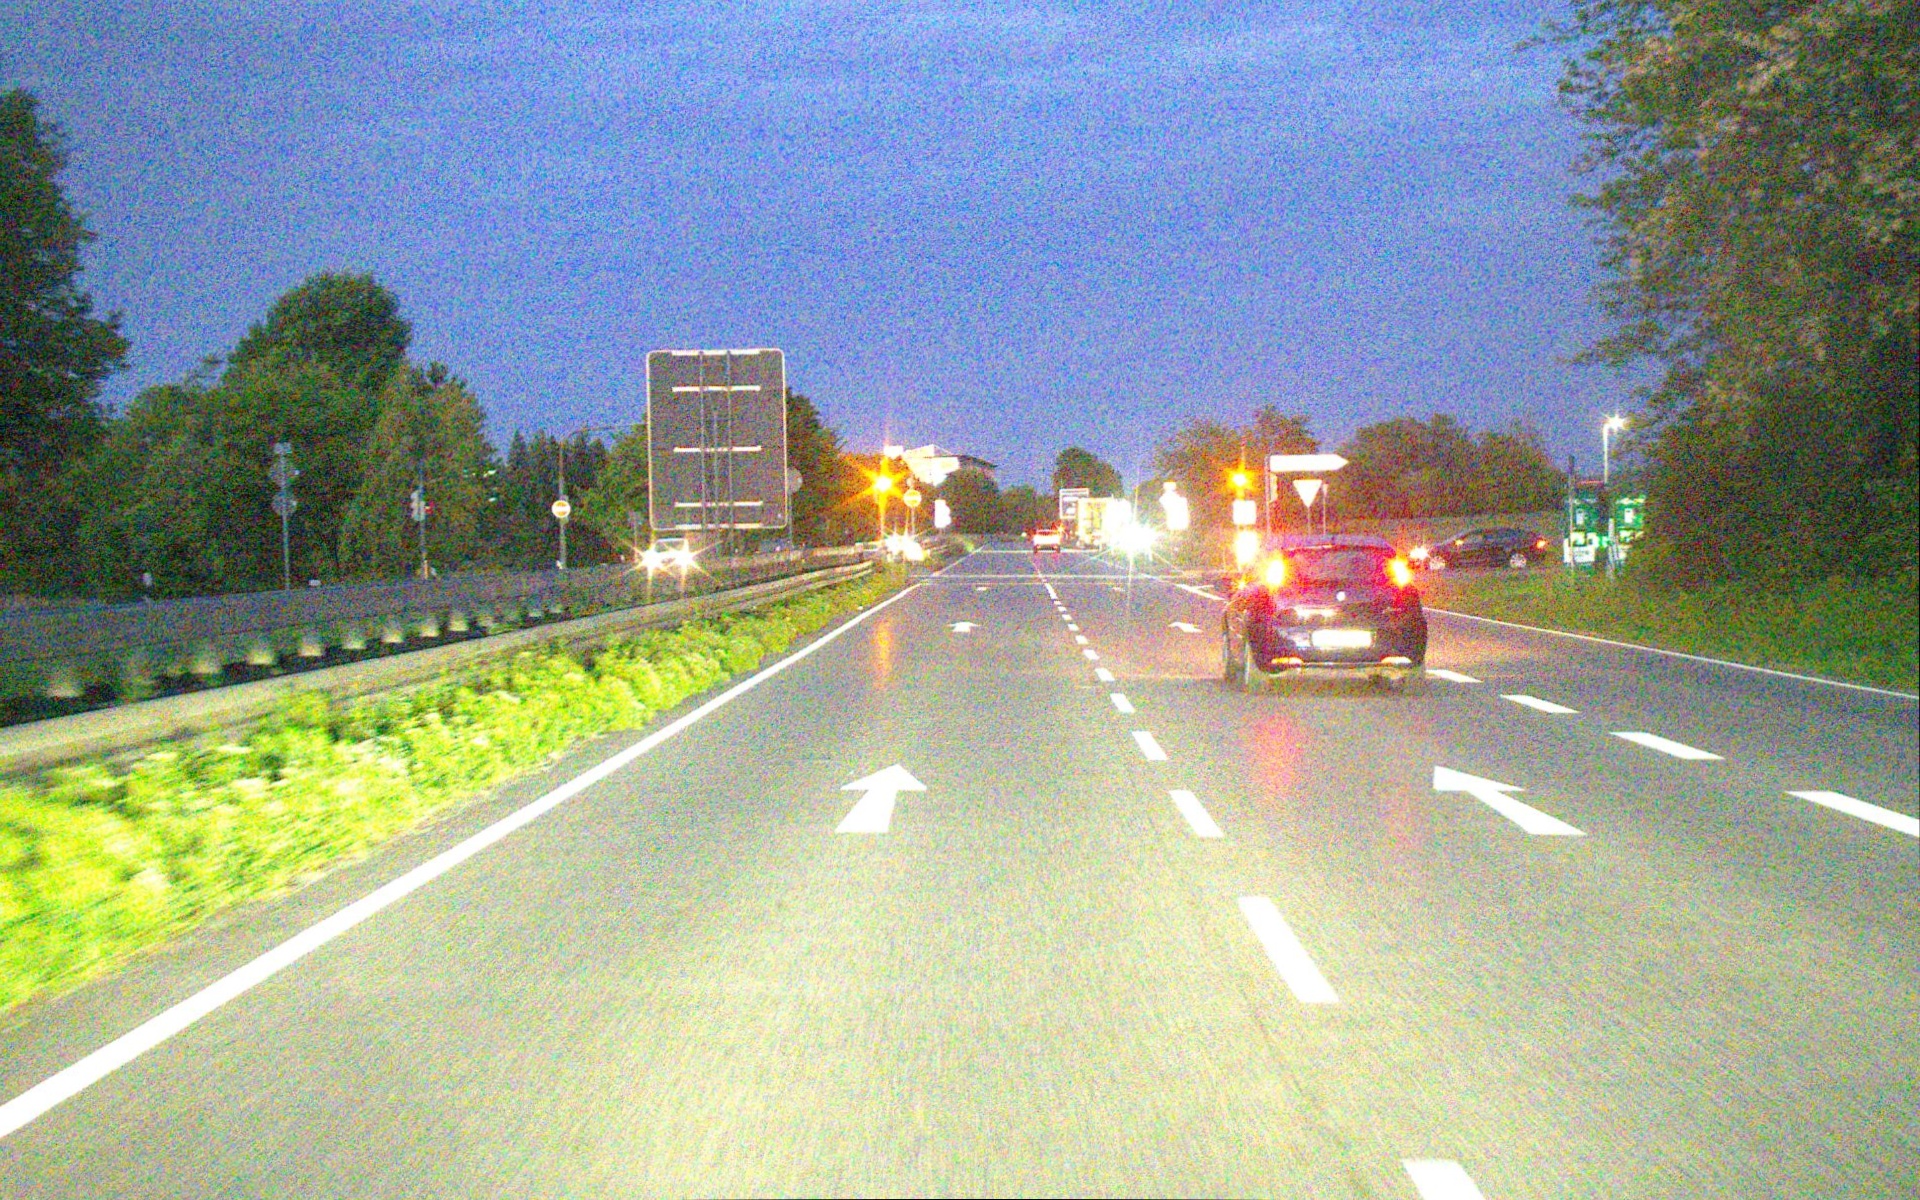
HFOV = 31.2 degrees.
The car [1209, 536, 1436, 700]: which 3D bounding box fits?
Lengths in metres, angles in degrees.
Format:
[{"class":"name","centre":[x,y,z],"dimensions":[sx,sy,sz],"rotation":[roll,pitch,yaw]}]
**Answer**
[{"class":"car","centre":[3.438,0.120,33.284],"dimensions":[1.753,1.448,4.433],"rotation":[-1,1,1]}]

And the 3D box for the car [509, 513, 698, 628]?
[{"class":"car","centre":[-5.147,-0.430,50.232],"dimensions":[1.994,1.448,4.734],"rotation":[-5,0,2]}]

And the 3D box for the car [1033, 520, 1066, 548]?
[{"class":"car","centre":[6.101,-4.503,234.893],"dimensions":[1.993,1.744,4.000],"rotation":[-5,0,-1]}]

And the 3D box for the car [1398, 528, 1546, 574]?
[{"class":"car","centre":[17.030,-1.648,114.469],"dimensions":[4.719,1.448,2.000],"rotation":[-1,1,4]}]
